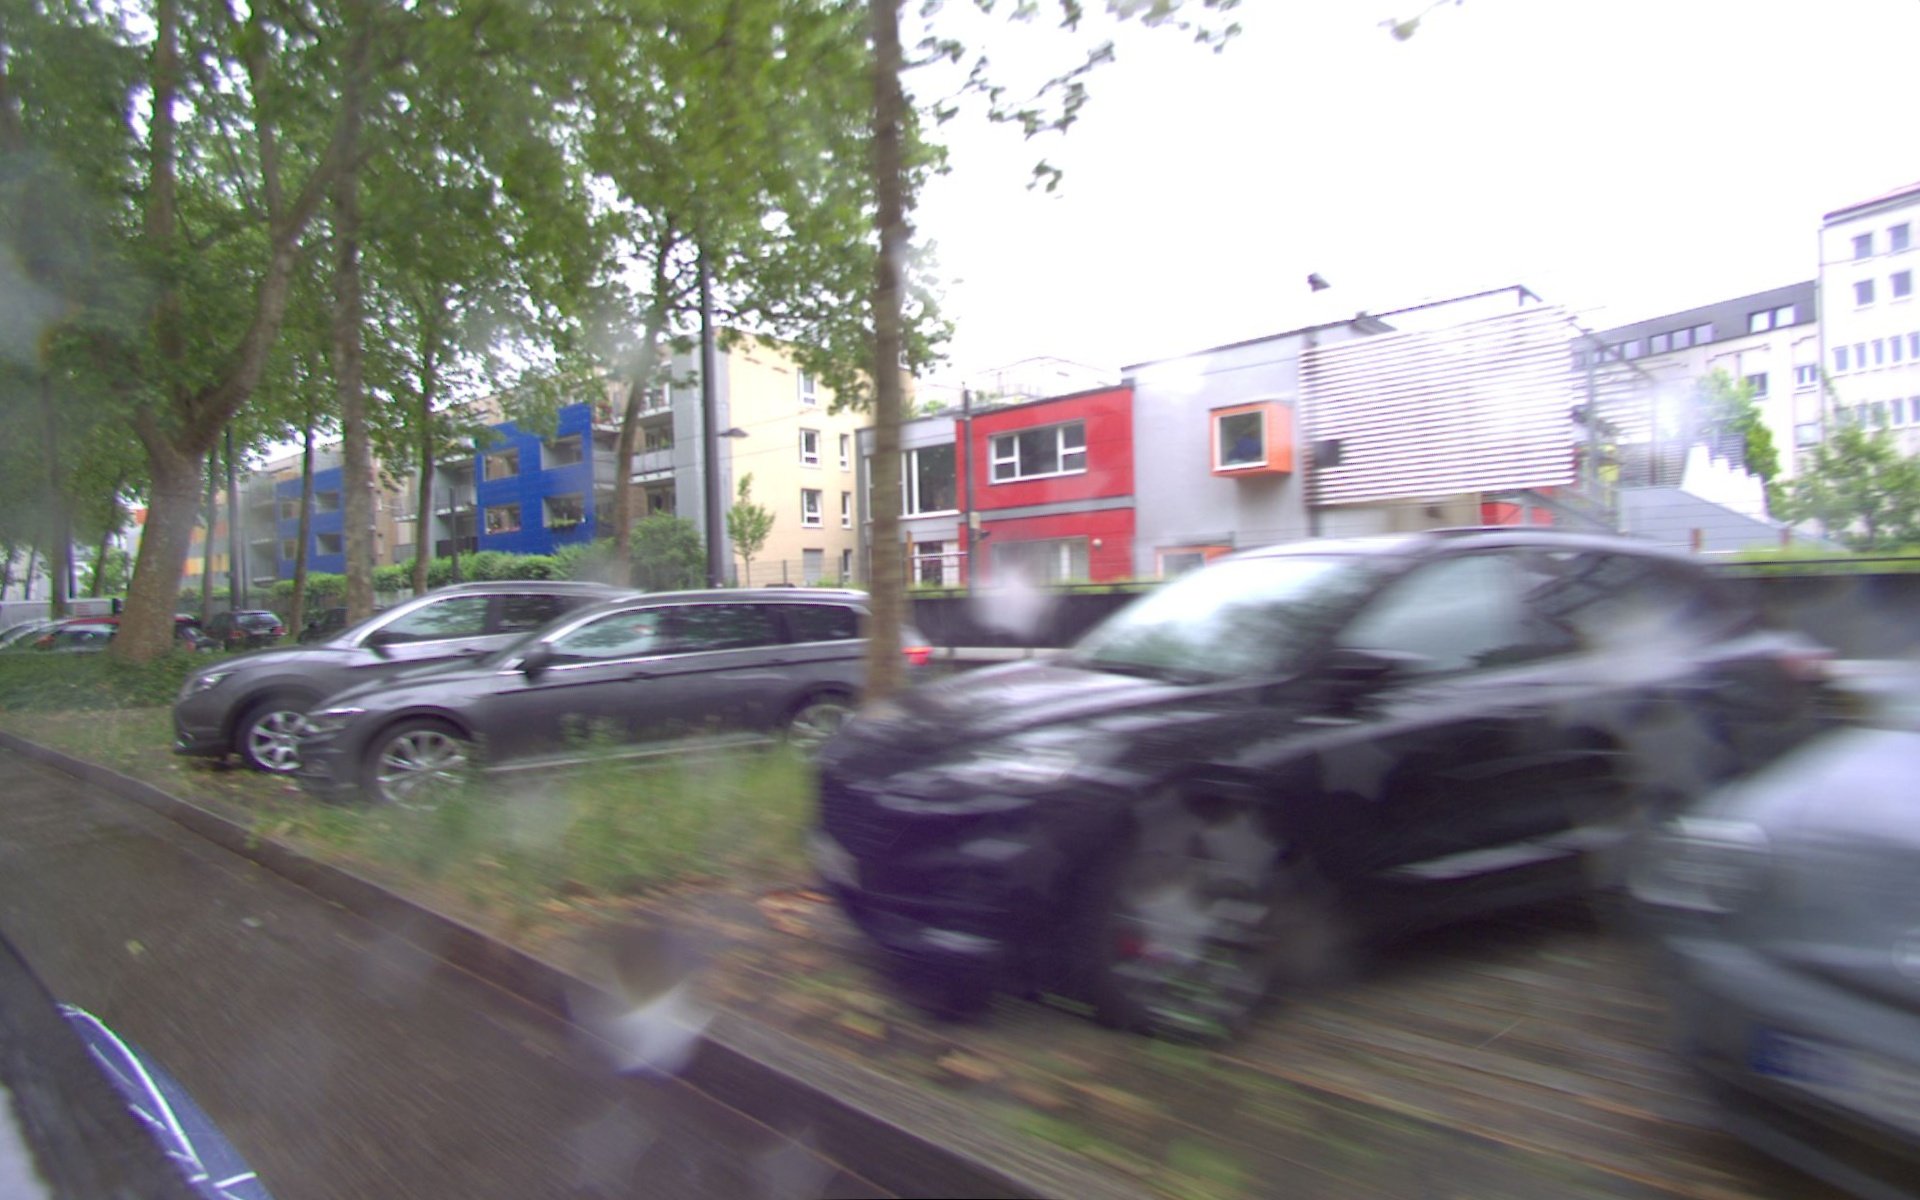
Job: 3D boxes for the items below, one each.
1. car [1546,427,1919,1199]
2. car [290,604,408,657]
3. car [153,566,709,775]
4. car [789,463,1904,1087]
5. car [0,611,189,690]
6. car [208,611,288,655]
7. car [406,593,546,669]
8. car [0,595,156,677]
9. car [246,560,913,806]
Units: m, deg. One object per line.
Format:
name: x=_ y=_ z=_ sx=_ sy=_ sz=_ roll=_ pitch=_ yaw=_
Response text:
car: x=3.759 y=0.438 z=2.339 sx=4.158 sy=1.553 sz=1.937 roll=-1 pitch=0 yaw=-20
car: x=-17.940 y=0.860 z=29.662 sx=3.995 sy=1.458 sz=1.671 roll=-1 pitch=0 yaw=38
car: x=-4.708 y=0.526 z=9.564 sx=4.258 sy=1.625 sz=1.754 roll=-1 pitch=0 yaw=-25
car: x=1.543 y=0.432 z=4.180 sx=4.158 sy=1.622 sz=1.754 roll=-1 pitch=0 yaw=-20
car: x=-18.416 y=1.006 z=20.742 sx=3.931 sy=1.497 sz=1.665 roll=-1 pitch=0 yaw=-29
car: x=-25.461 y=1.137 z=36.125 sx=4.002 sy=1.458 sz=1.668 roll=-1 pitch=0 yaw=45
car: x=-11.993 y=0.713 z=25.000 sx=3.687 sy=1.736 sz=1.671 roll=-1 pitch=0 yaw=38
car: x=-24.320 y=0.920 z=26.432 sx=4.808 sy=2.029 sz=2.006 roll=-1 pitch=0 yaw=-21
car: x=-2.665 y=0.489 z=7.758 sx=4.259 sy=1.519 sz=1.754 roll=-1 pitch=0 yaw=-19
